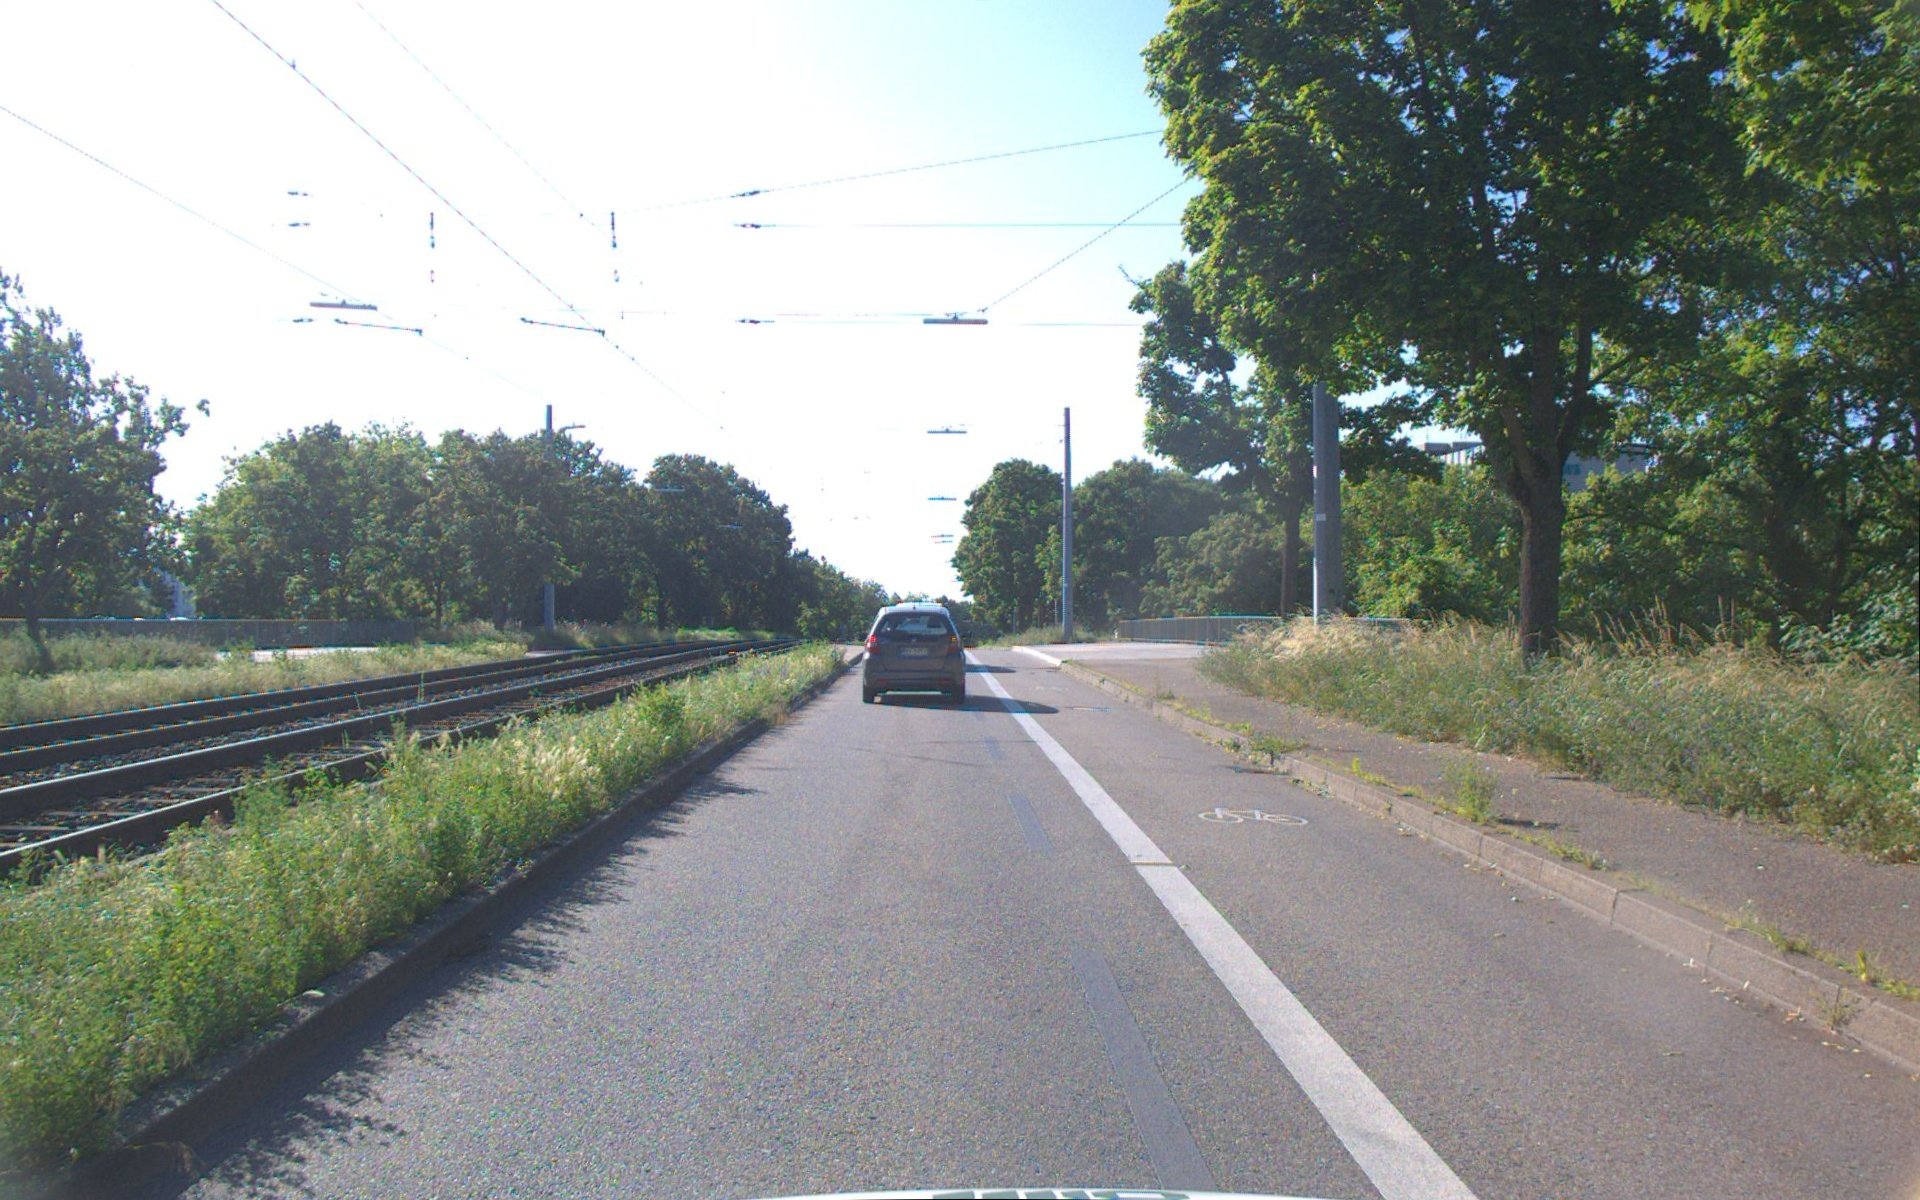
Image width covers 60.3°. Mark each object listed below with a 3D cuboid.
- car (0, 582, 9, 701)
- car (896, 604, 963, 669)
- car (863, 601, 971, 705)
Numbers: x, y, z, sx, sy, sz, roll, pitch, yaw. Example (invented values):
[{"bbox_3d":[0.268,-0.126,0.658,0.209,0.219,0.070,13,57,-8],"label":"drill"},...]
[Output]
[{"bbox_3d":[-13.068,0.526,18.943,1.772,1.515,4.406,1,0,0],"label":"car"},{"bbox_3d":[-0.758,0.897,42.664,1.621,1.534,3.810,1,0,0],"label":"car"},{"bbox_3d":[-0.713,0.819,27.454,1.636,1.534,3.810,1,0,-1],"label":"car"}]
